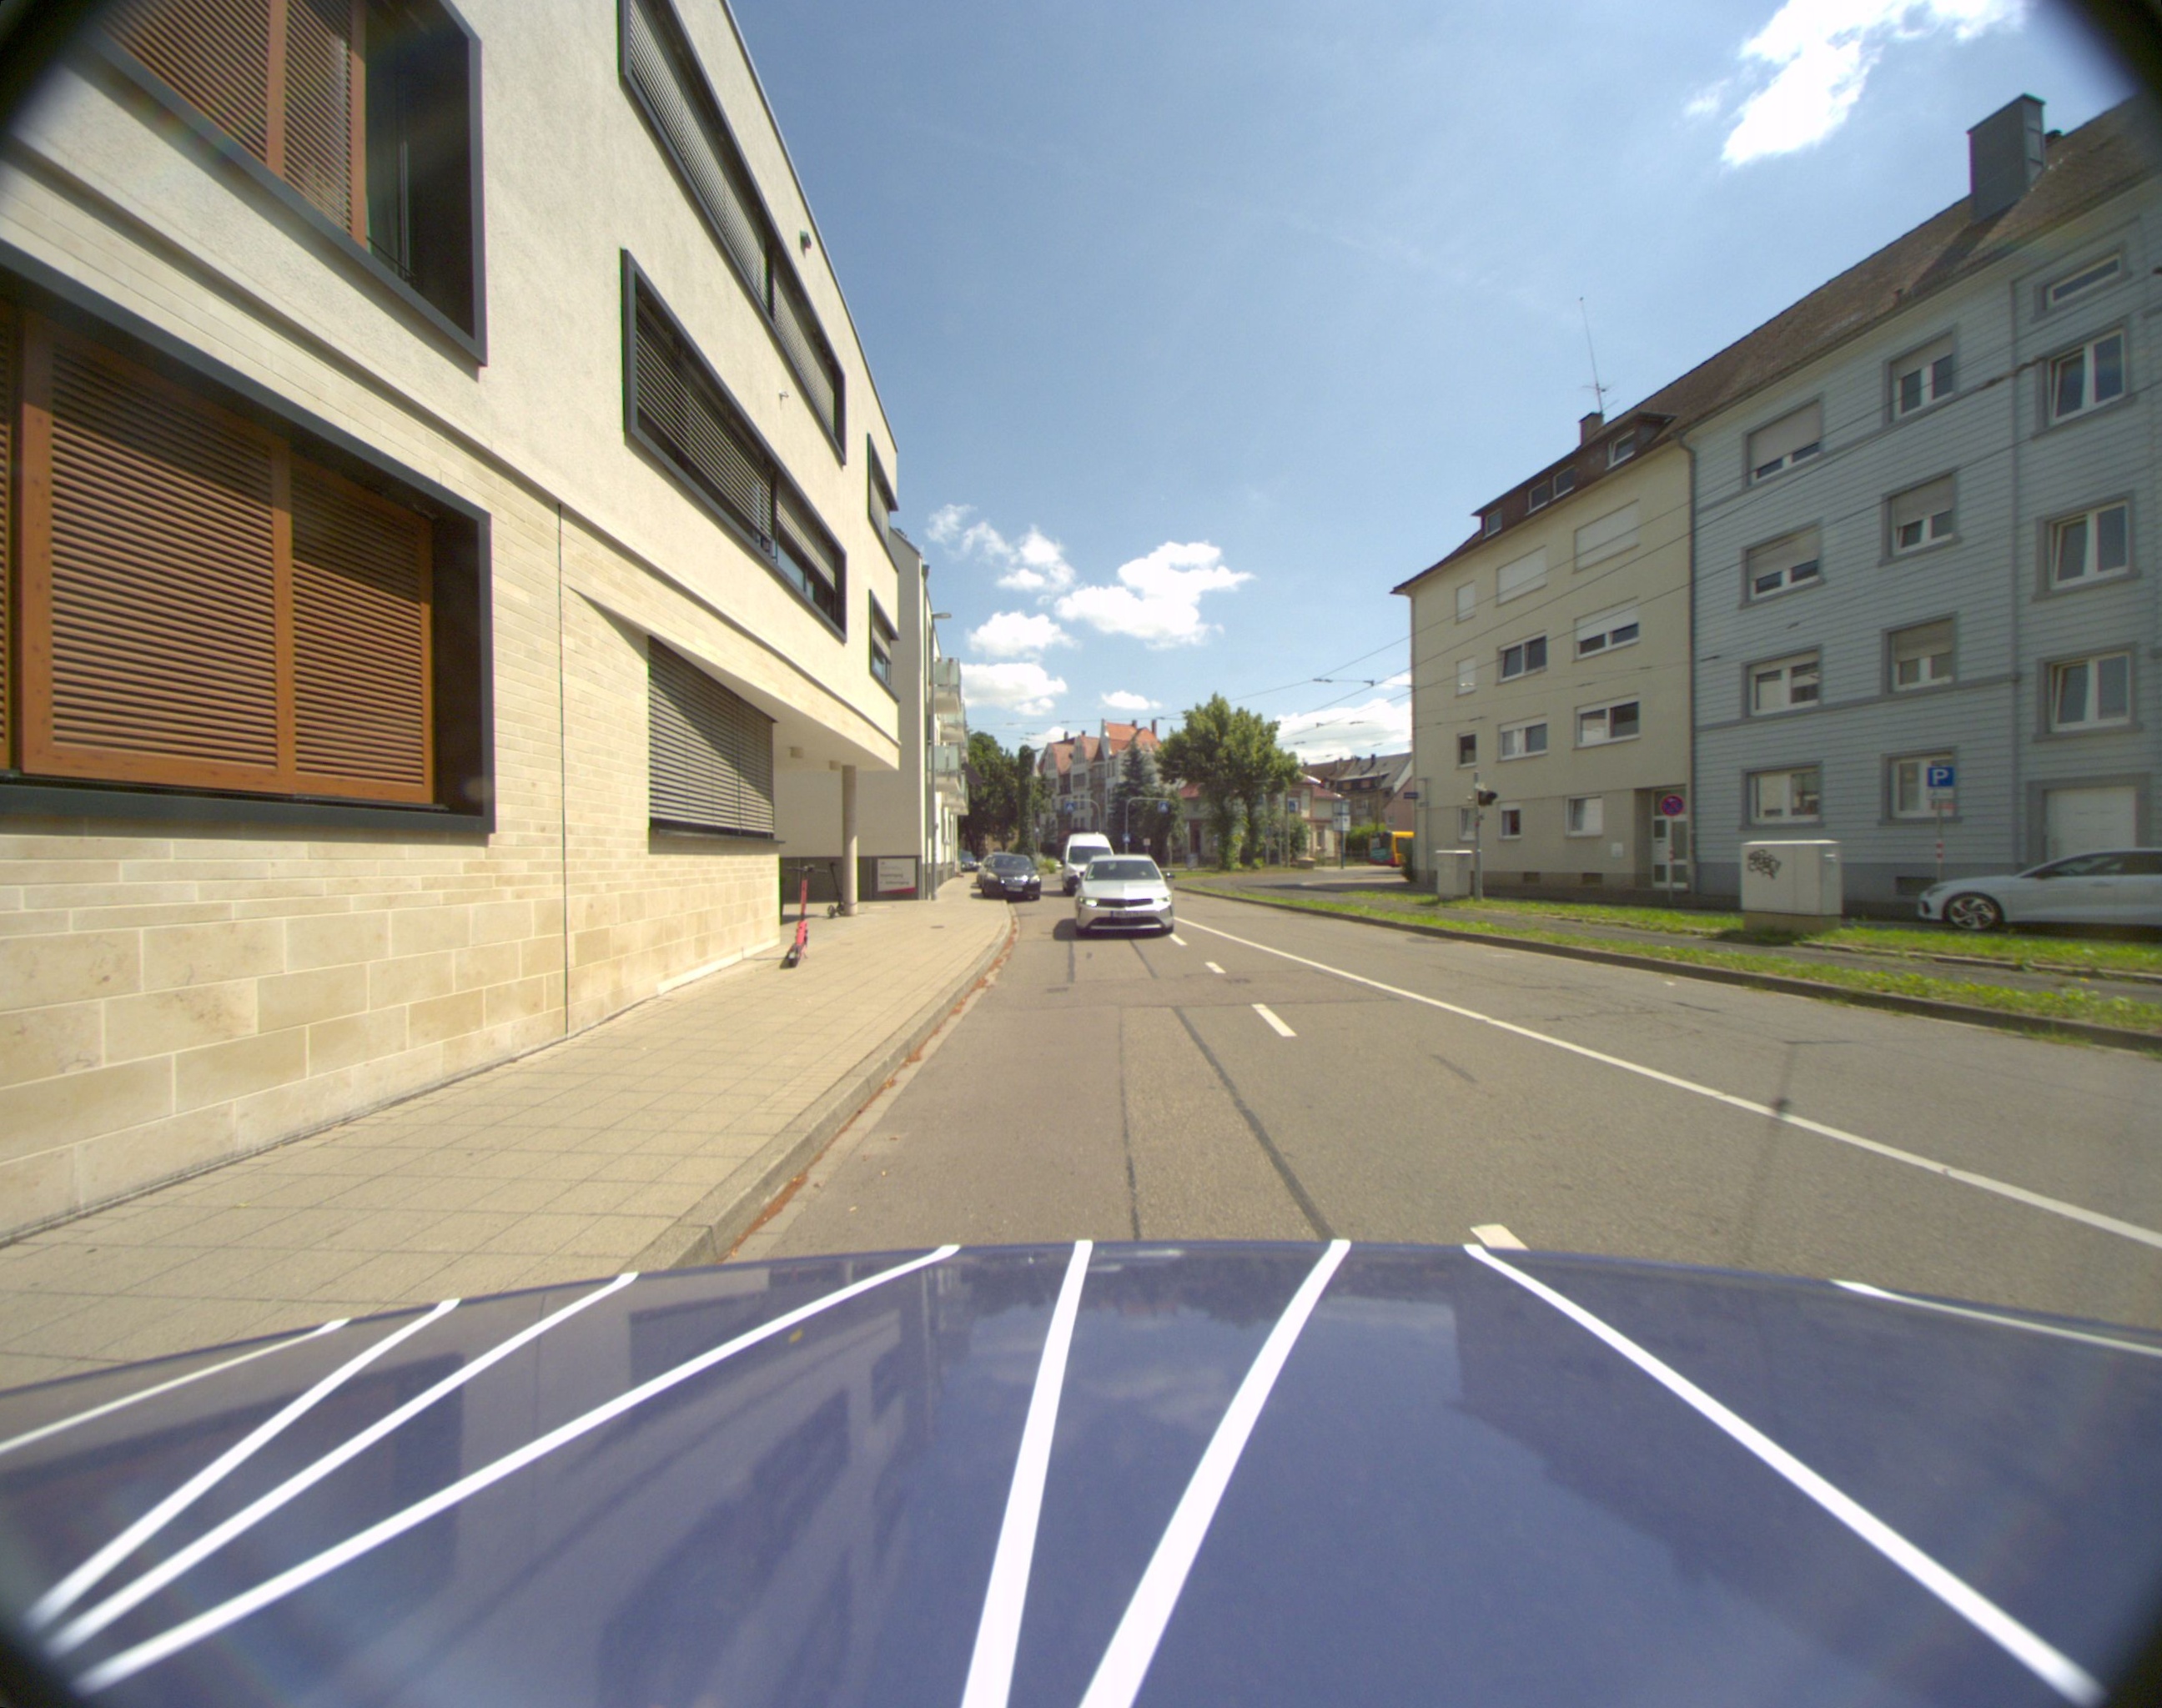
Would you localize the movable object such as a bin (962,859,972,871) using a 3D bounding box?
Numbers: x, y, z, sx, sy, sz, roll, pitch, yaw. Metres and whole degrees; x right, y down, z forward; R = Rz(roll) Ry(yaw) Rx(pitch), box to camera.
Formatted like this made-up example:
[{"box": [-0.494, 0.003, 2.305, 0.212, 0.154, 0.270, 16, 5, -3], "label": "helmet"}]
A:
[{"box": [-9.284, 0.912, 61.939, 0.616, 0.955, 0.635, 0, 1, 9], "label": "movable object such as a bin"}]

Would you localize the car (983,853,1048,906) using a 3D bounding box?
[{"box": [-2.315, 0.792, 25.728, 1.806, 1.500, 4.543, 3, 0, -9], "label": "car"}]

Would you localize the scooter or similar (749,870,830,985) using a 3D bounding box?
[{"box": [-3.538, 0.854, 9.318, 0.583, 1.253, 1.366, 2, 0, -7], "label": "scooter or similar"}]

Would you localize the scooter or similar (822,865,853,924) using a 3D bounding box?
[{"box": [-5.233, 0.839, 16.354, 0.423, 1.204, 1.314, 0, 0, -9], "label": "scooter or similar"}]

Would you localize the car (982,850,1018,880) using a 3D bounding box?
[{"box": [-4.781, 0.620, 45.403, 1.731, 1.601, 3.799, 2, 1, -1], "label": "car"}]

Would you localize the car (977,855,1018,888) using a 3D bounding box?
[{"box": [-4.082, 0.819, 37.719, 1.732, 1.425, 4.041, 3, 0, -3], "label": "car"}]

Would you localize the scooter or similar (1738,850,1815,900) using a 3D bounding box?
[{"box": [17.879, 0.527, 19.554, 0.640, 1.216, 1.319, -2, 1, -13], "label": "scooter or similar"}]

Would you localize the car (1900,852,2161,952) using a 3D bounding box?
[{"box": [16.289, 0.723, 11.846, 1.935, 1.443, 4.370, 2, -1, -15], "label": "car"}]

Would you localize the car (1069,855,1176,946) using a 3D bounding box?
[{"box": [0.926, 0.807, 15.111, 1.800, 1.458, 4.172, -1, 1, 6], "label": "car"}]

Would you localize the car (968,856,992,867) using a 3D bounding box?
[{"box": [-15.170, 1.083, 114.331, 1.779, 1.382, 3.864, 6, -3, -36], "label": "car"}]

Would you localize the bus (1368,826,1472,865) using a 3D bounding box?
[{"box": [30.662, -0.665, 68.550, 10.876, 3.277, 2.702, 0, -1, -30], "label": "bus"}]

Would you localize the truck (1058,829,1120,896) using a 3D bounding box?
[{"box": [0.279, 0.255, 28.460, 2.020, 2.236, 5.406, -2, 1, 0], "label": "truck"}]

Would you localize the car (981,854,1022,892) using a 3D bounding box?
[{"box": [-3.473, 0.782, 32.747, 1.598, 1.425, 3.703, 3, 0, -8], "label": "car"}]

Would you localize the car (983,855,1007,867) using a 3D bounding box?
[{"box": [-12.599, 1.007, 110.707, 1.779, 1.604, 3.865, 6, -3, -35], "label": "car"}]
